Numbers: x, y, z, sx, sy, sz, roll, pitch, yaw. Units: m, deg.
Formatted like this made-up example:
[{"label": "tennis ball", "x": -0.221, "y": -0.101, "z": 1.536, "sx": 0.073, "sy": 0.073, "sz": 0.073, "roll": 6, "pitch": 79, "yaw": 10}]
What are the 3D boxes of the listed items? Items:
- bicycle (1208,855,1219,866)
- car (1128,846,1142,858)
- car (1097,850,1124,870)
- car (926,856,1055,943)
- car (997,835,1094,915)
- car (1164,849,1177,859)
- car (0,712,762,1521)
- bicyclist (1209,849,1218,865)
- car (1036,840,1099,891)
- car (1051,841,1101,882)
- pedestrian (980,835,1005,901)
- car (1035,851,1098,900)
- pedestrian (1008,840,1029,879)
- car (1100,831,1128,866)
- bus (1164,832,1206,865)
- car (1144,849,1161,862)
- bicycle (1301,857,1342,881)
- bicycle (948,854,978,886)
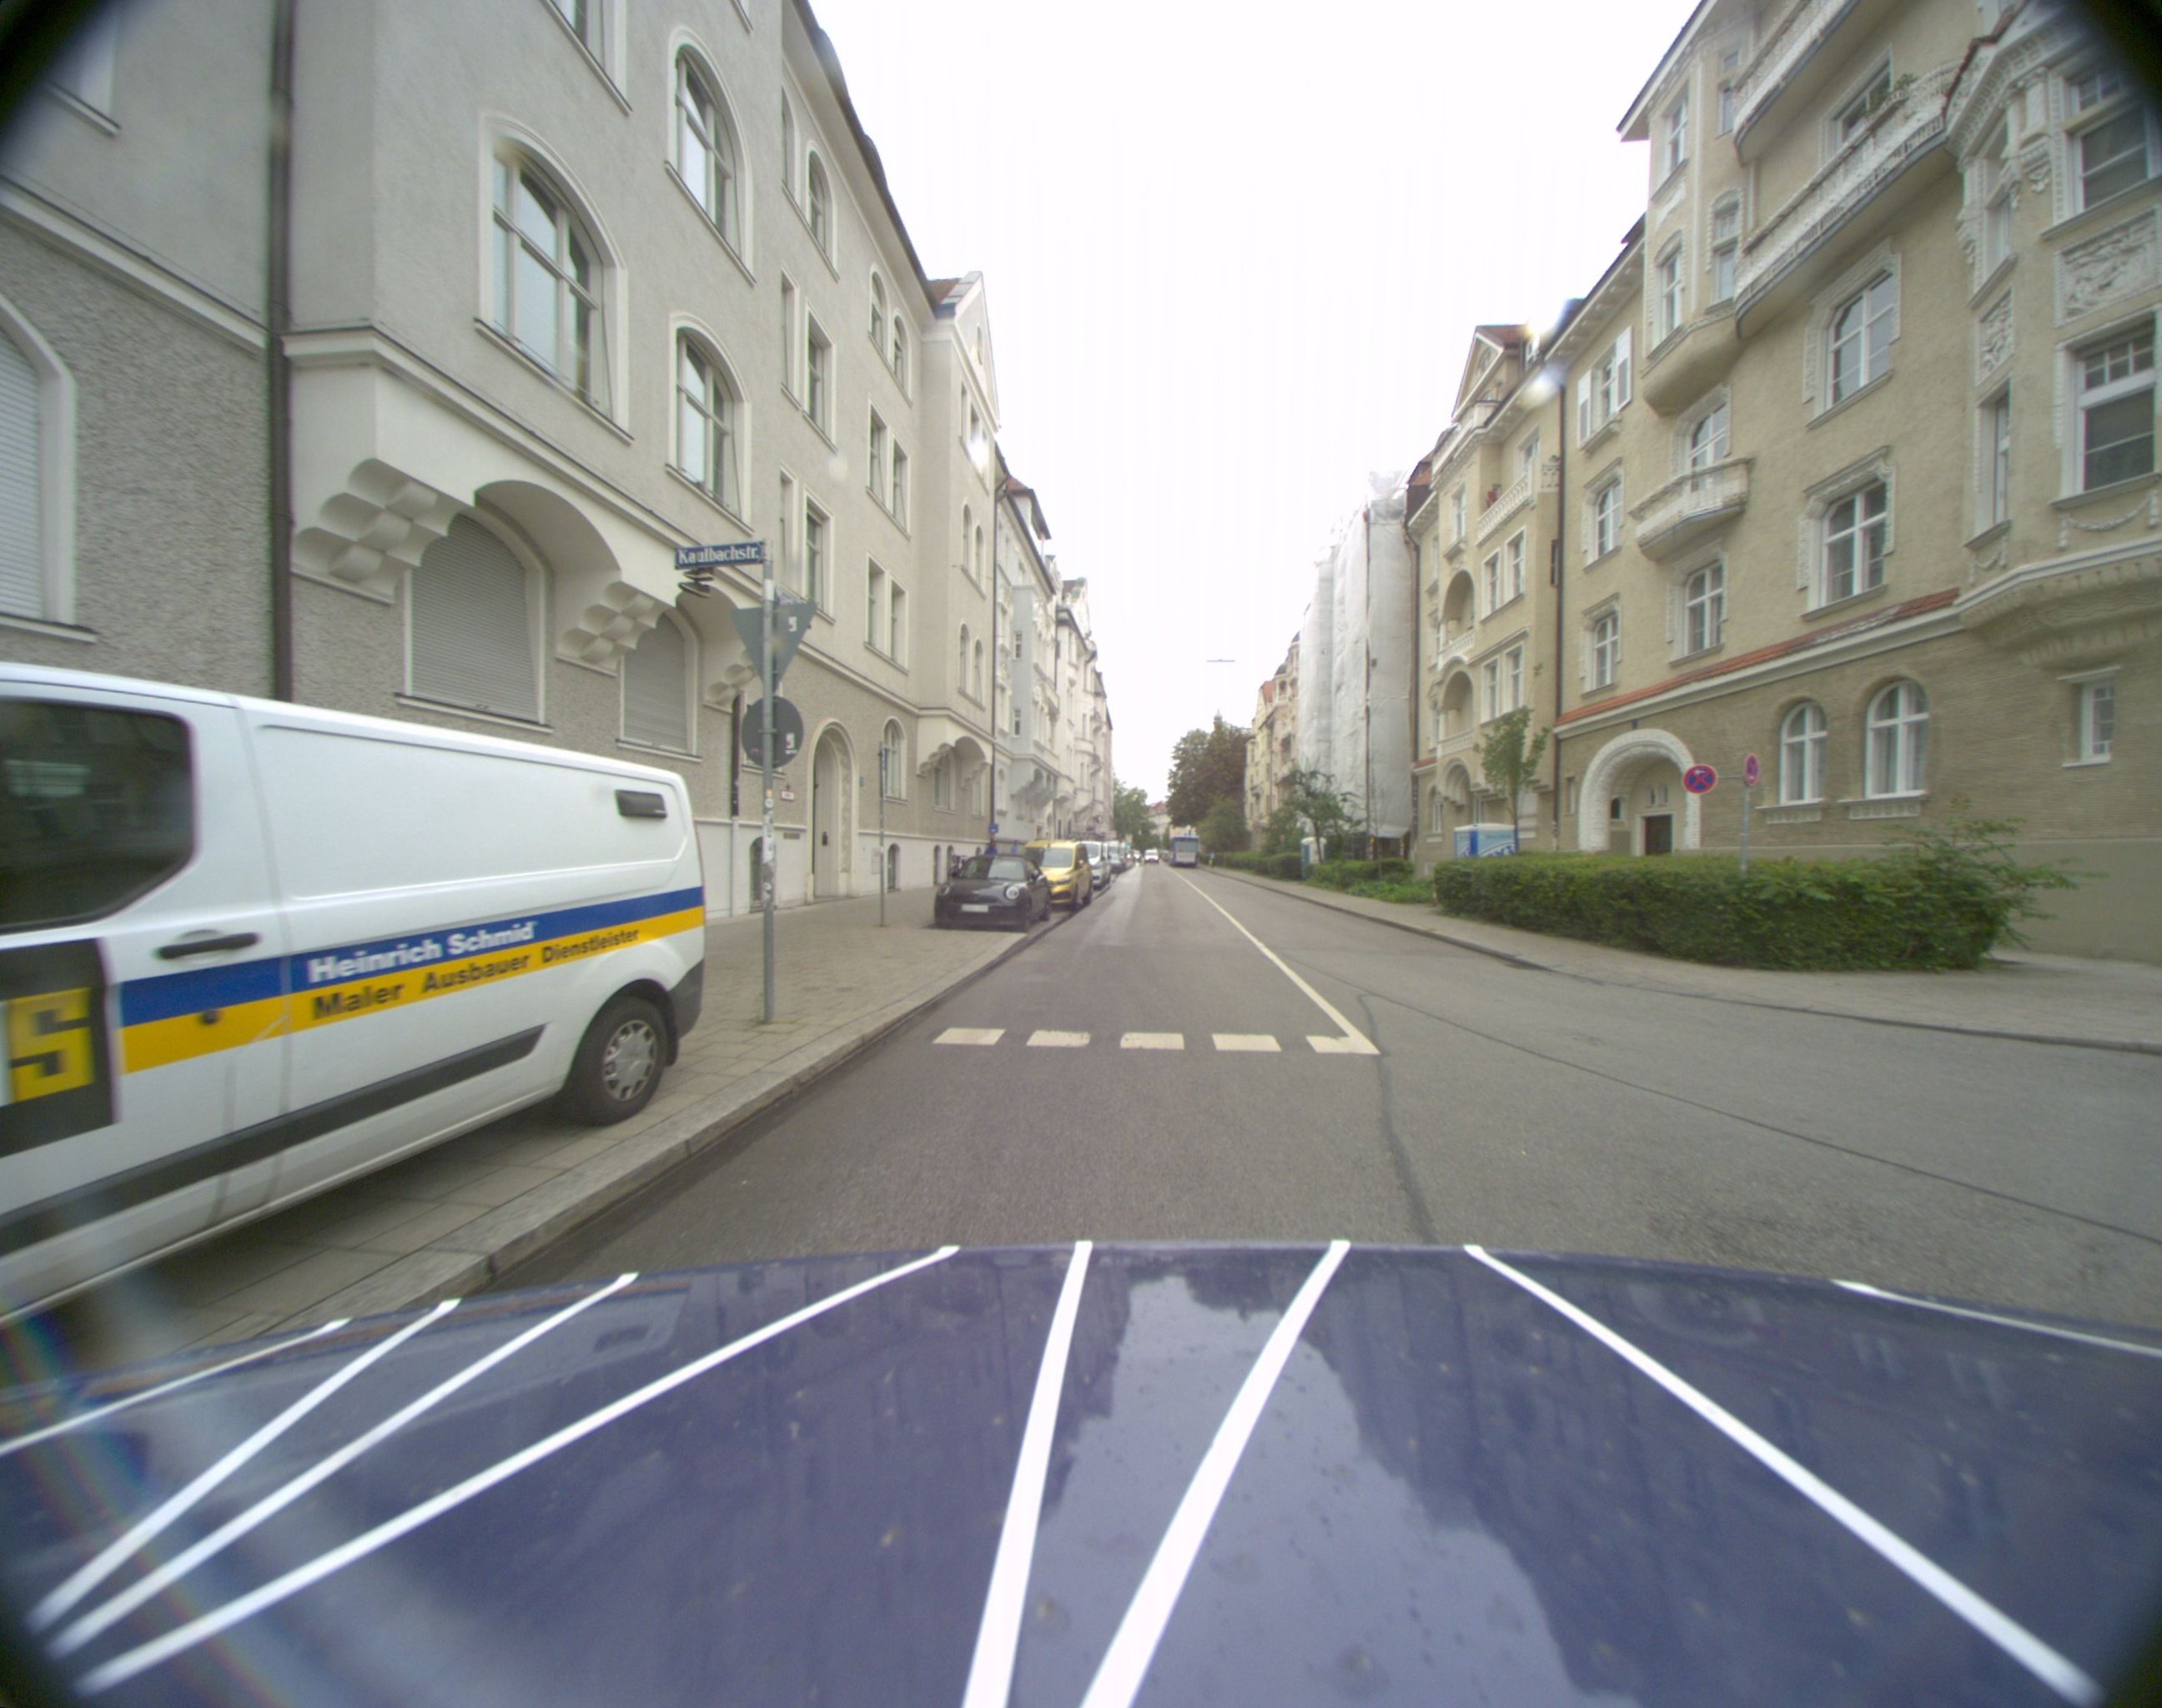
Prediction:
[{"label": "bicycle", "x": 12.978, "y": 0.616, "z": 74.563, "sx": 0.769, "sy": 1.075, "sz": 2.050, "roll": -1, "pitch": 1, "yaw": 3}, {"label": "car", "x": 8.236, "y": -0.318, "z": 115.447, "sx": 1.723, "sy": 1.622, "sz": 4.003, "roll": 1, "pitch": 1, "yaw": 9}, {"label": "car", "x": 2.242, "y": 0.427, "z": 56.562, "sx": 1.791, "sy": 1.399, "sz": 4.246, "roll": 1, "pitch": 1, "yaw": 5}, {"label": "car", "x": -1.646, "y": 0.784, "z": 15.110, "sx": 1.716, "sy": 1.437, "sz": 3.829, "roll": 1, "pitch": 1, "yaw": 6}, {"label": "car", "x": -0.823, "y": 0.478, "z": 20.669, "sx": 1.998, "sy": 1.907, "sz": 4.572, "roll": 1, "pitch": 1, "yaw": 5}, {"label": "car", "x": 13.333, "y": -0.023, "z": 112.605, "sx": 1.723, "sy": 1.398, "sz": 4.003, "roll": 1, "pitch": 1, "yaw": 9}, {"label": "car", "x": -3.429, "y": 0.590, "z": 2.639, "sx": 1.942, "sy": 1.911, "sz": 5.376, "roll": 2, "pitch": 1, "yaw": 5}, {"label": "bicyclist", "x": 12.964, "y": 0.298, "z": 74.535, "sx": 0.769, "sy": 1.484, "sz": 1.060, "roll": -1, "pitch": 1, "yaw": 3}, {"label": "car", "x": -0.466, "y": 0.413, "z": 31.153, "sx": 1.998, "sy": 1.907, "sz": 4.888, "roll": 1, "pitch": 1, "yaw": 5}, {"label": "car", "x": -0.171, "y": 0.323, "z": 38.073, "sx": 1.998, "sy": 1.907, "sz": 4.879, "roll": 1, "pitch": 1, "yaw": 5}, {"label": "pedestrian", "x": -2.699, "y": 0.417, "z": 23.270, "sx": 0.584, "sy": 2.002, "sz": 0.728, "roll": 1, "pitch": 1, "yaw": 8}, {"label": "car", "x": -0.413, "y": 0.670, "z": 25.896, "sx": 1.636, "sy": 1.505, "sz": 3.887, "roll": 1, "pitch": 0, "yaw": 7}, {"label": "pedestrian", "x": -3.091, "y": 0.245, "z": 37.478, "sx": 0.853, "sy": 1.892, "sz": 0.746, "roll": 1, "pitch": 1, "yaw": 9}, {"label": "car", "x": 2.817, "y": -0.490, "z": 63.105, "sx": 2.081, "sy": 2.673, "sz": 5.446, "roll": 2, "pitch": 1, "yaw": 4}, {"label": "bus", "x": 11.589, "y": -0.648, "z": 86.580, "sx": 3.178, "sy": 3.193, "sz": 18.059, "roll": 2, "pitch": 1, "yaw": 3}, {"label": "car", "x": 9.167, "y": 0.184, "z": 96.626, "sx": 1.917, "sy": 1.648, "sz": 4.604, "roll": 1, "pitch": 1, "yaw": 8}, {"label": "bicycle", "x": 12.231, "y": 0.754, "z": 38.721, "sx": 1.863, "sy": 1.071, "sz": 0.691, "roll": -3, "pitch": 0, "yaw": 7}, {"label": "bicycle", "x": -4.454, "y": 0.591, "z": 28.746, "sx": 0.667, "sy": 1.126, "sz": 1.723, "roll": 1, "pitch": 1, "yaw": 6}]
